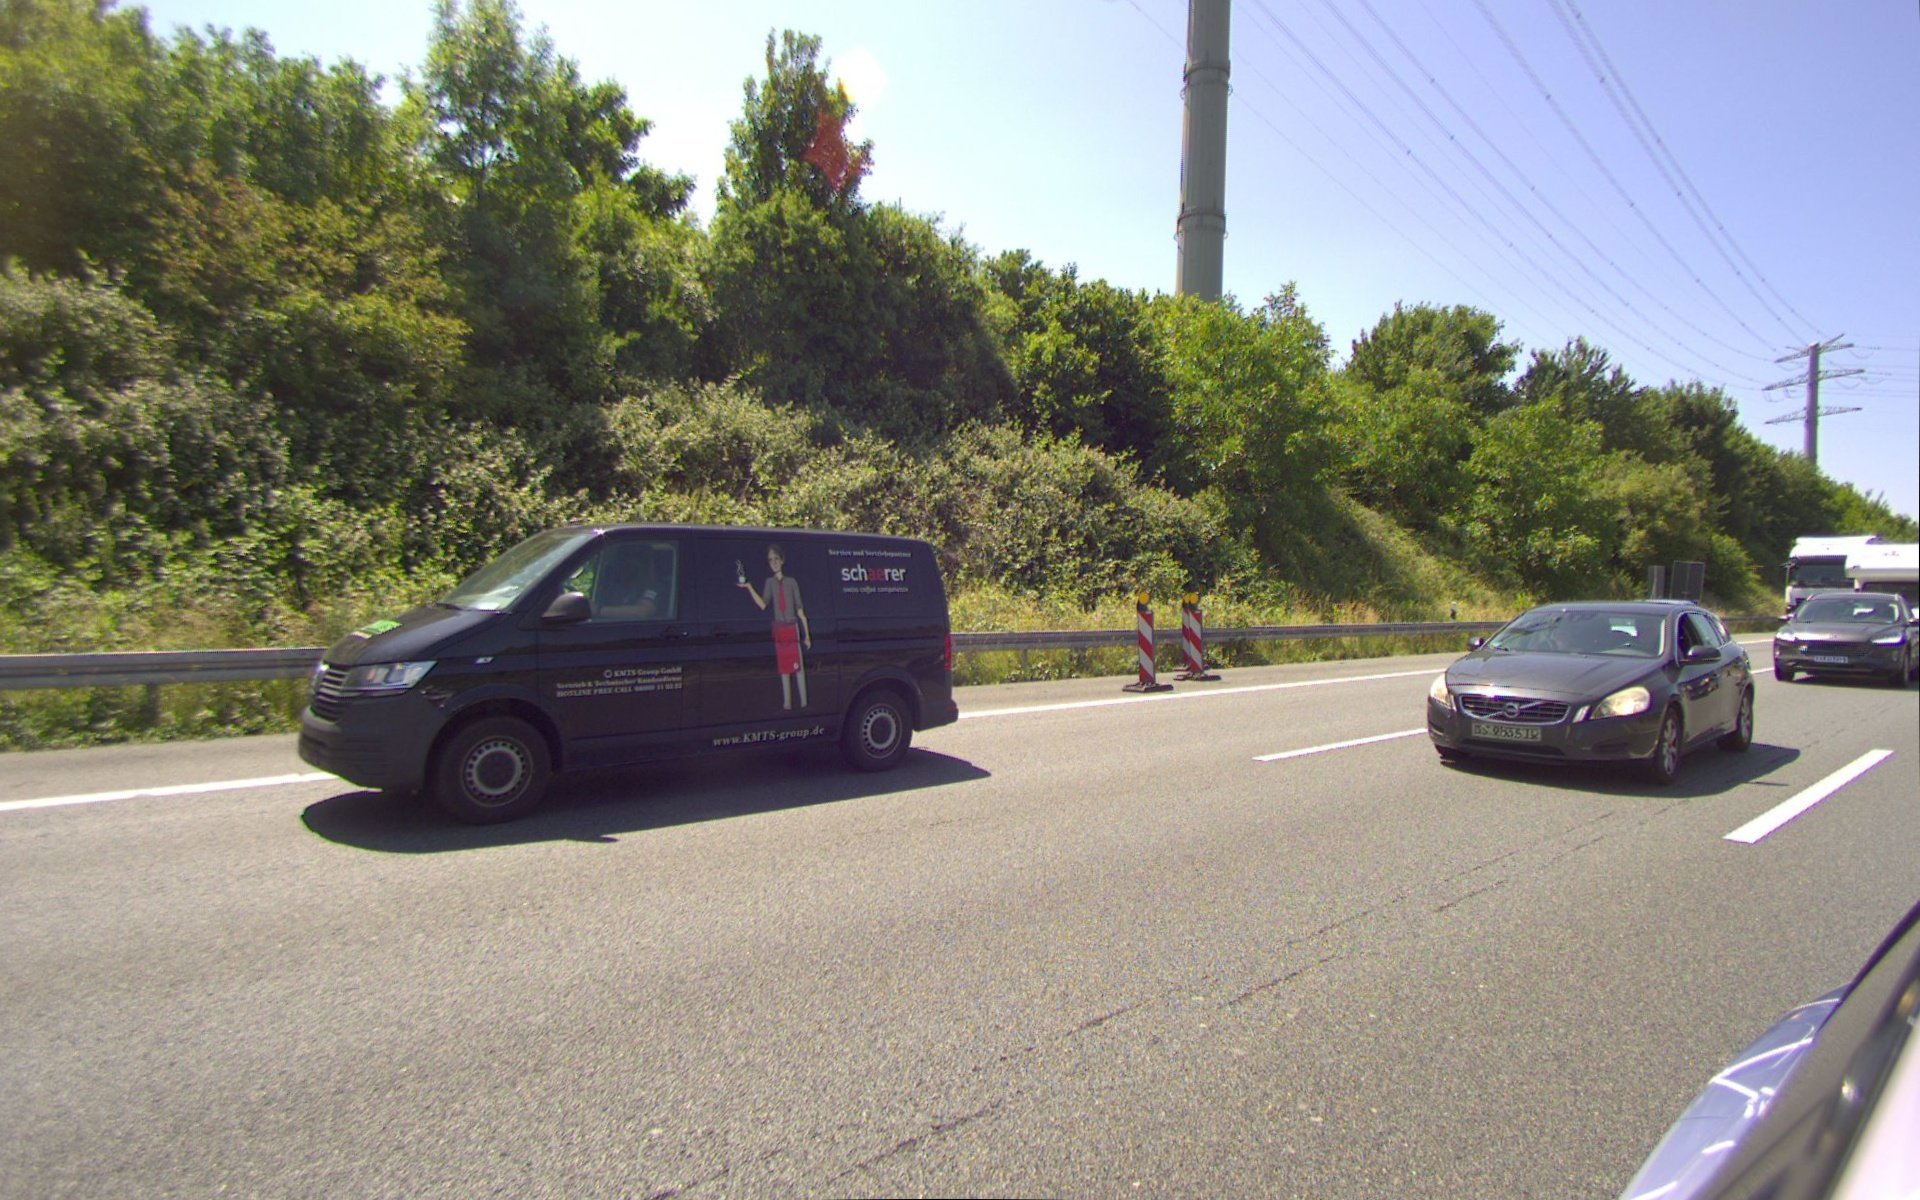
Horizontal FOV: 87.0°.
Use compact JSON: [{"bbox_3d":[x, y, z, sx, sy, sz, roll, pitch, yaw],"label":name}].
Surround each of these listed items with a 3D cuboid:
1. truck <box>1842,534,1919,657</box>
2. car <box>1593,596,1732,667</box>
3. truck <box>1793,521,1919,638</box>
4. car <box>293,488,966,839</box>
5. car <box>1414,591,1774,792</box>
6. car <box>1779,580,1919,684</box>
[{"bbox_3d":[27.478,-0.129,28.499,9.721,3.053,2.513,0,0,-40],"label":"truck"},{"bbox_3d":[15.840,0.639,22.765,3.667,1.455,1.798,0,0,-42],"label":"car"},{"bbox_3d":[36.773,-0.742,41.106,11.457,4.204,2.653,0,0,-41],"label":"truck"},{"bbox_3d":[-2.255,0.339,7.785,4.617,1.928,1.787,0,0,-42],"label":"car"},{"bbox_3d":[6.018,0.651,9.397,4.158,1.455,1.798,0,0,-42],"label":"car"},{"bbox_3d":[16.993,0.519,19.007,4.308,1.724,1.890,0,0,-42],"label":"car"}]
